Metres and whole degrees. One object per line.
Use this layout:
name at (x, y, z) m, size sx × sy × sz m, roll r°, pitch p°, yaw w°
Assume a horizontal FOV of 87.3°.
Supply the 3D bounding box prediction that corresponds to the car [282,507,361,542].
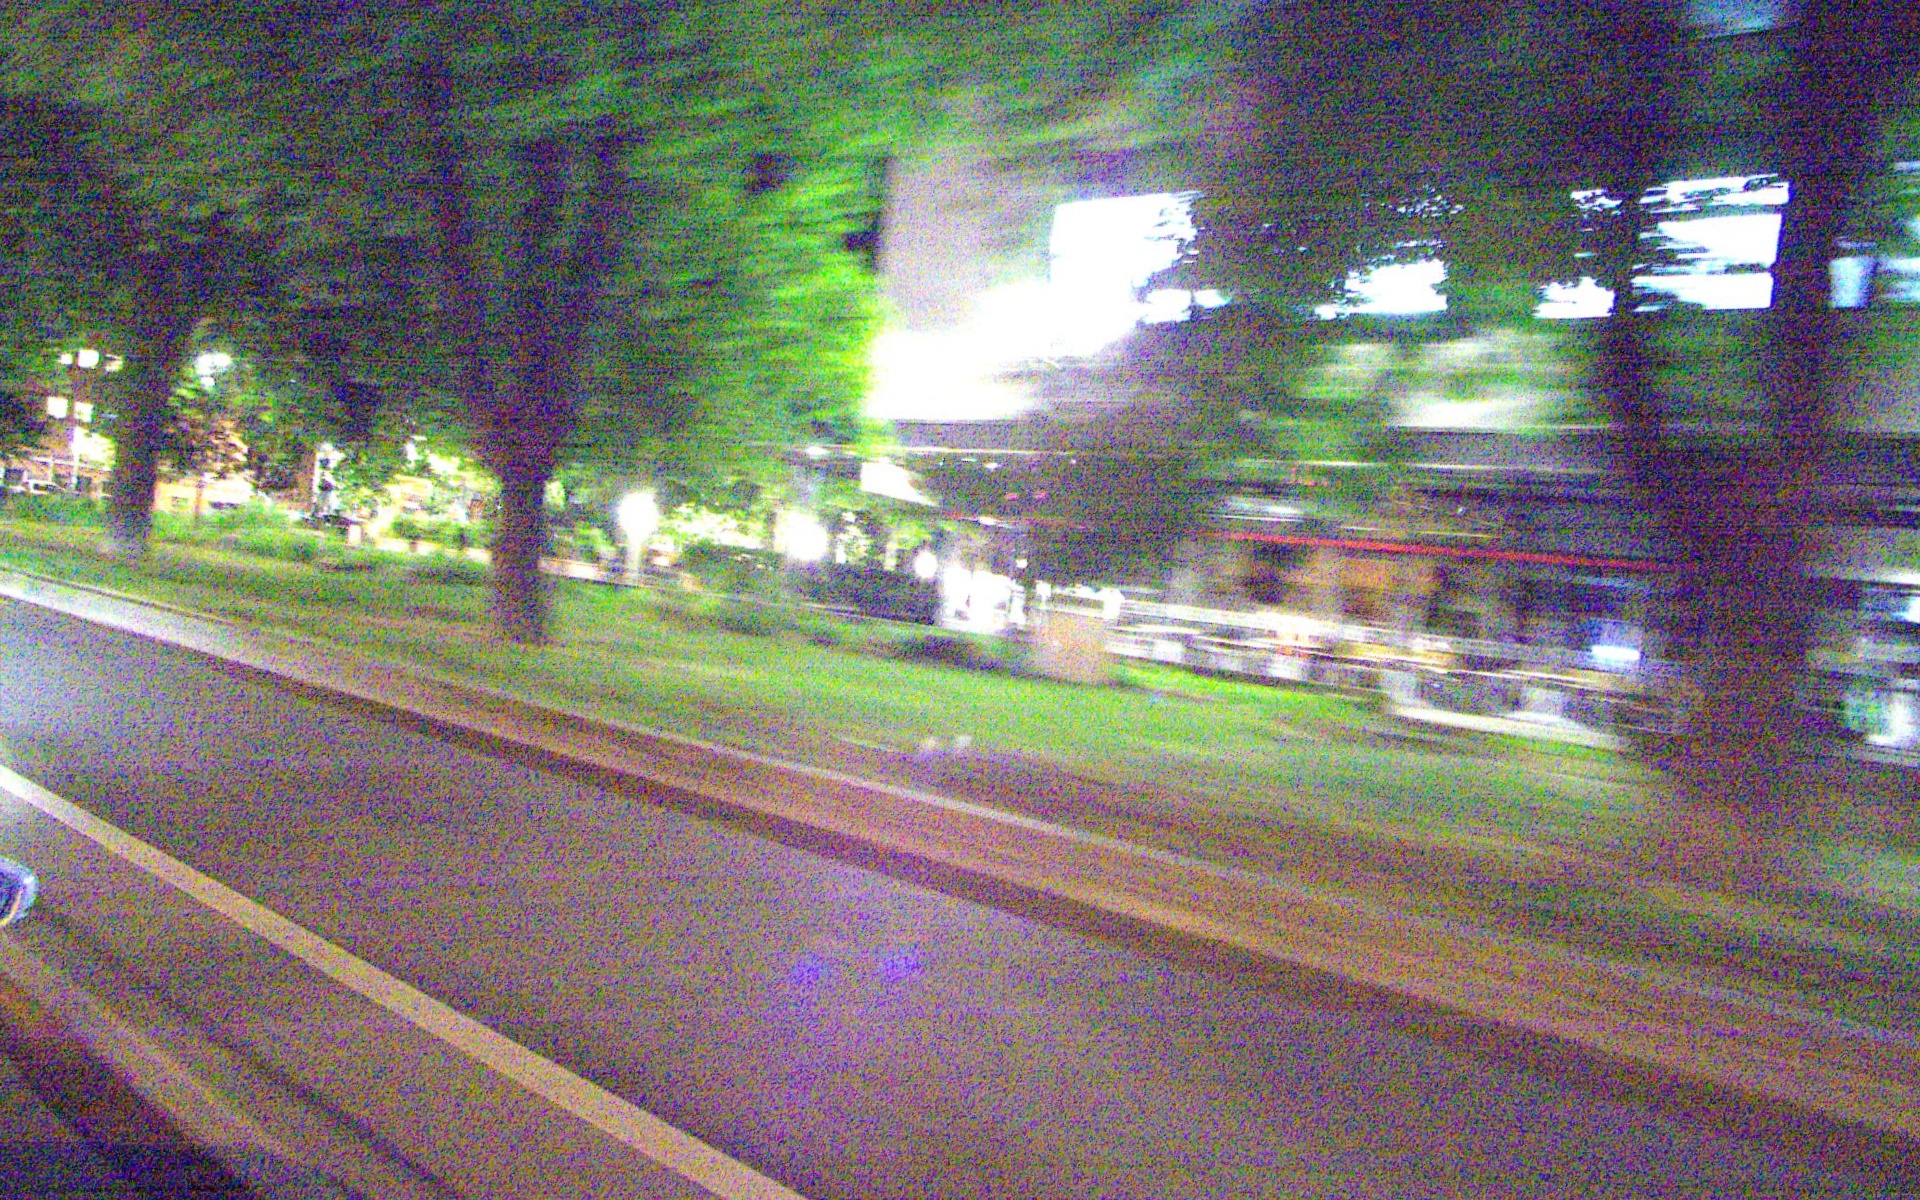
car at (-37.991, -4.516, 59.818) m, size 4.809 × 1.532 × 1.891 m, roll 7°, pitch 1°, yaw 30°

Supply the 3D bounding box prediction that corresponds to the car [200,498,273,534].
car at (-39.773, -4.628, 55.255) m, size 4.030 × 1.553 × 1.769 m, roll 7°, pitch 1°, yaw 31°

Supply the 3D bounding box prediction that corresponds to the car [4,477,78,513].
car at (-52.881, -6.036, 57.883) m, size 3.929 × 1.553 × 1.785 m, roll 7°, pitch 1°, yaw 27°
